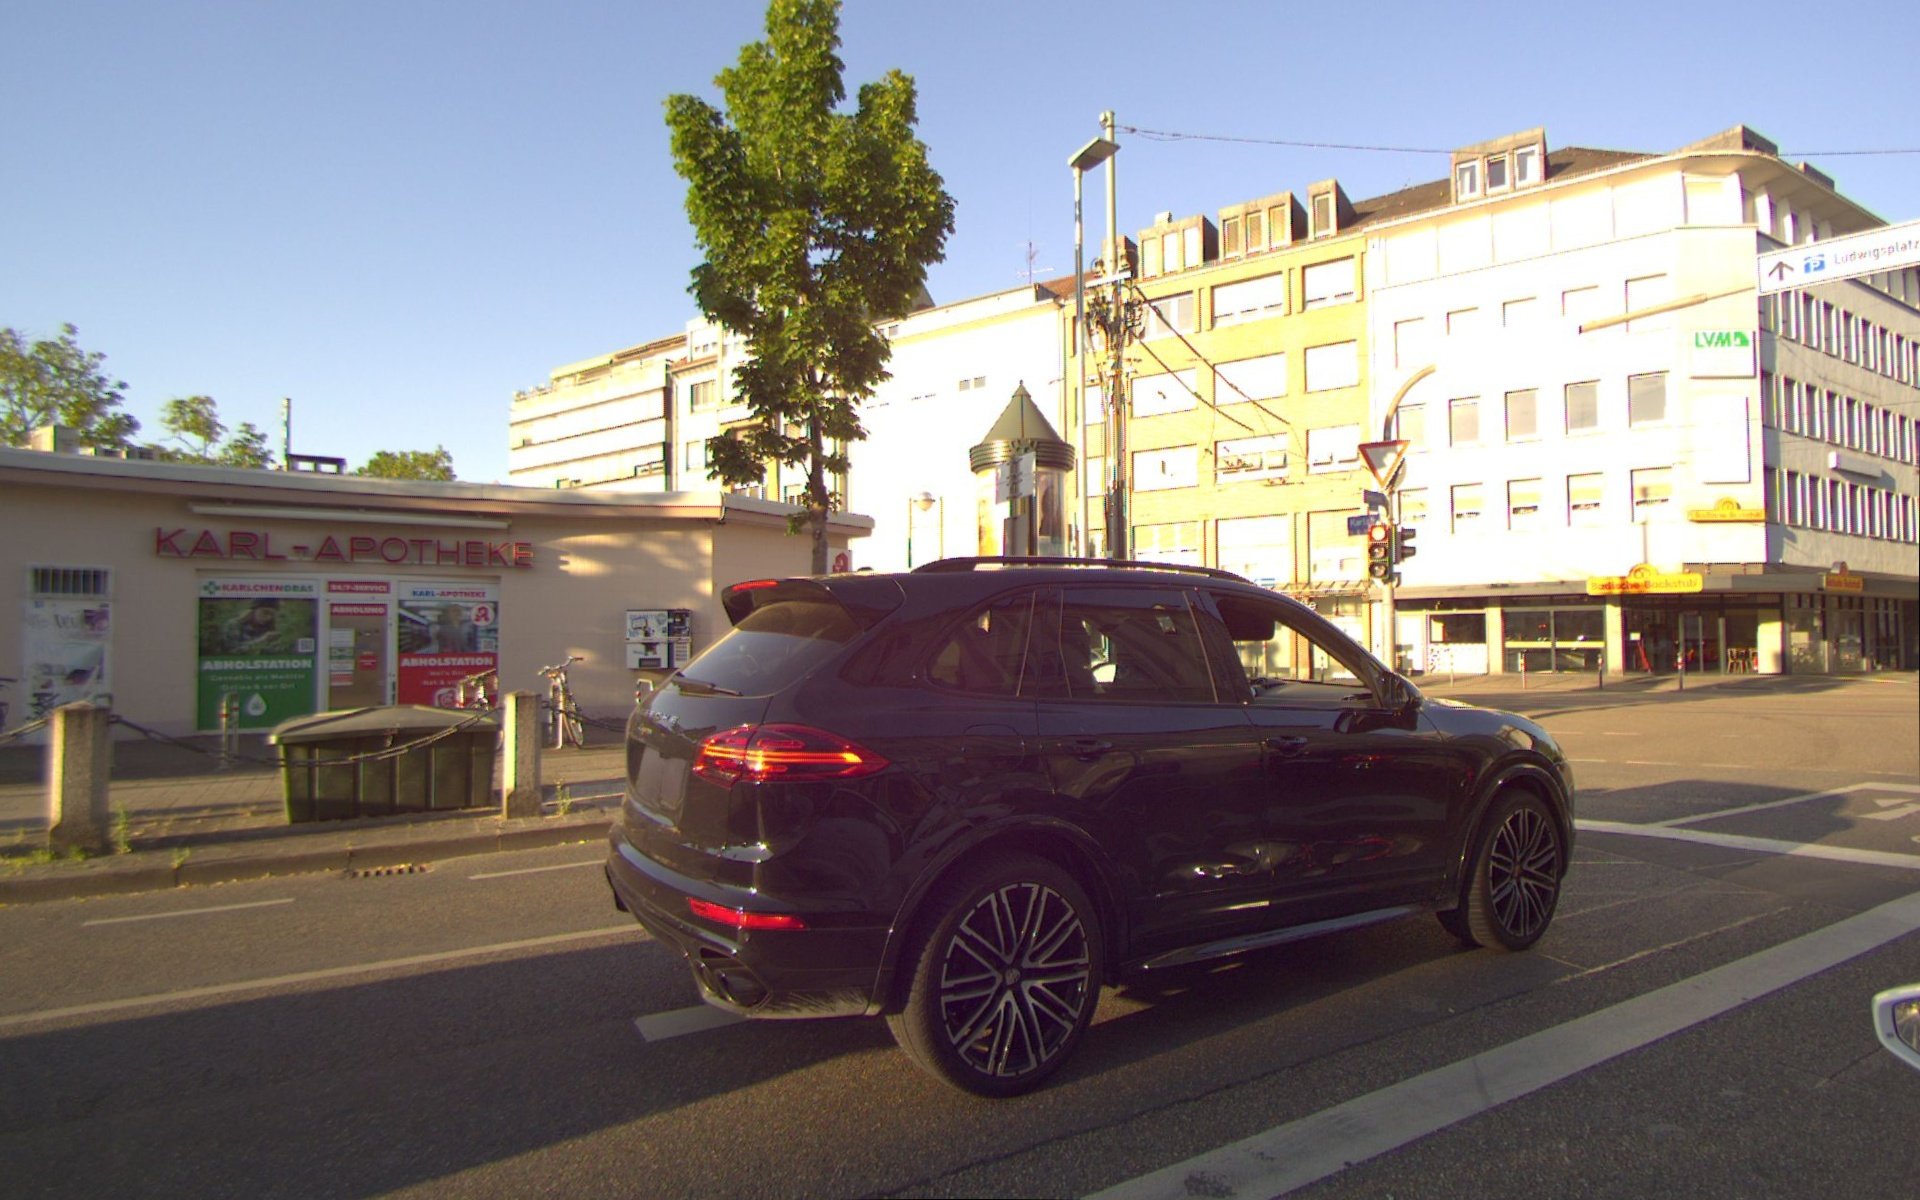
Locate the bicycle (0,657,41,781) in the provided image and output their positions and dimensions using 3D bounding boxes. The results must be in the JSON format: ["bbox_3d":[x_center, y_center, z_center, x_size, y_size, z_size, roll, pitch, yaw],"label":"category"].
[{"bbox_3d":[-10.329,1.245,10.494,0.625,1.273,1.846,1,-3,-29],"label":"bicycle"}]

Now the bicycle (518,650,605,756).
[{"bbox_3d":[-5.387,1.320,13.486,0.778,1.273,2.433,1,-3,-29],"label":"bicycle"}]

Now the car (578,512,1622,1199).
[{"bbox_3d":[0.806,0.715,4.578,4.510,1.736,1.939,1,-3,-32],"label":"car"}]

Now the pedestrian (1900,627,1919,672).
[{"bbox_3d":[36.201,1.873,37.891,0.862,1.698,0.819,1,-3,-32],"label":"pedestrian"}]

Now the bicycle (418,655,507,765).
[{"bbox_3d":[-6.441,1.353,12.945,0.938,1.273,1.997,1,-3,-29],"label":"bicycle"}]
